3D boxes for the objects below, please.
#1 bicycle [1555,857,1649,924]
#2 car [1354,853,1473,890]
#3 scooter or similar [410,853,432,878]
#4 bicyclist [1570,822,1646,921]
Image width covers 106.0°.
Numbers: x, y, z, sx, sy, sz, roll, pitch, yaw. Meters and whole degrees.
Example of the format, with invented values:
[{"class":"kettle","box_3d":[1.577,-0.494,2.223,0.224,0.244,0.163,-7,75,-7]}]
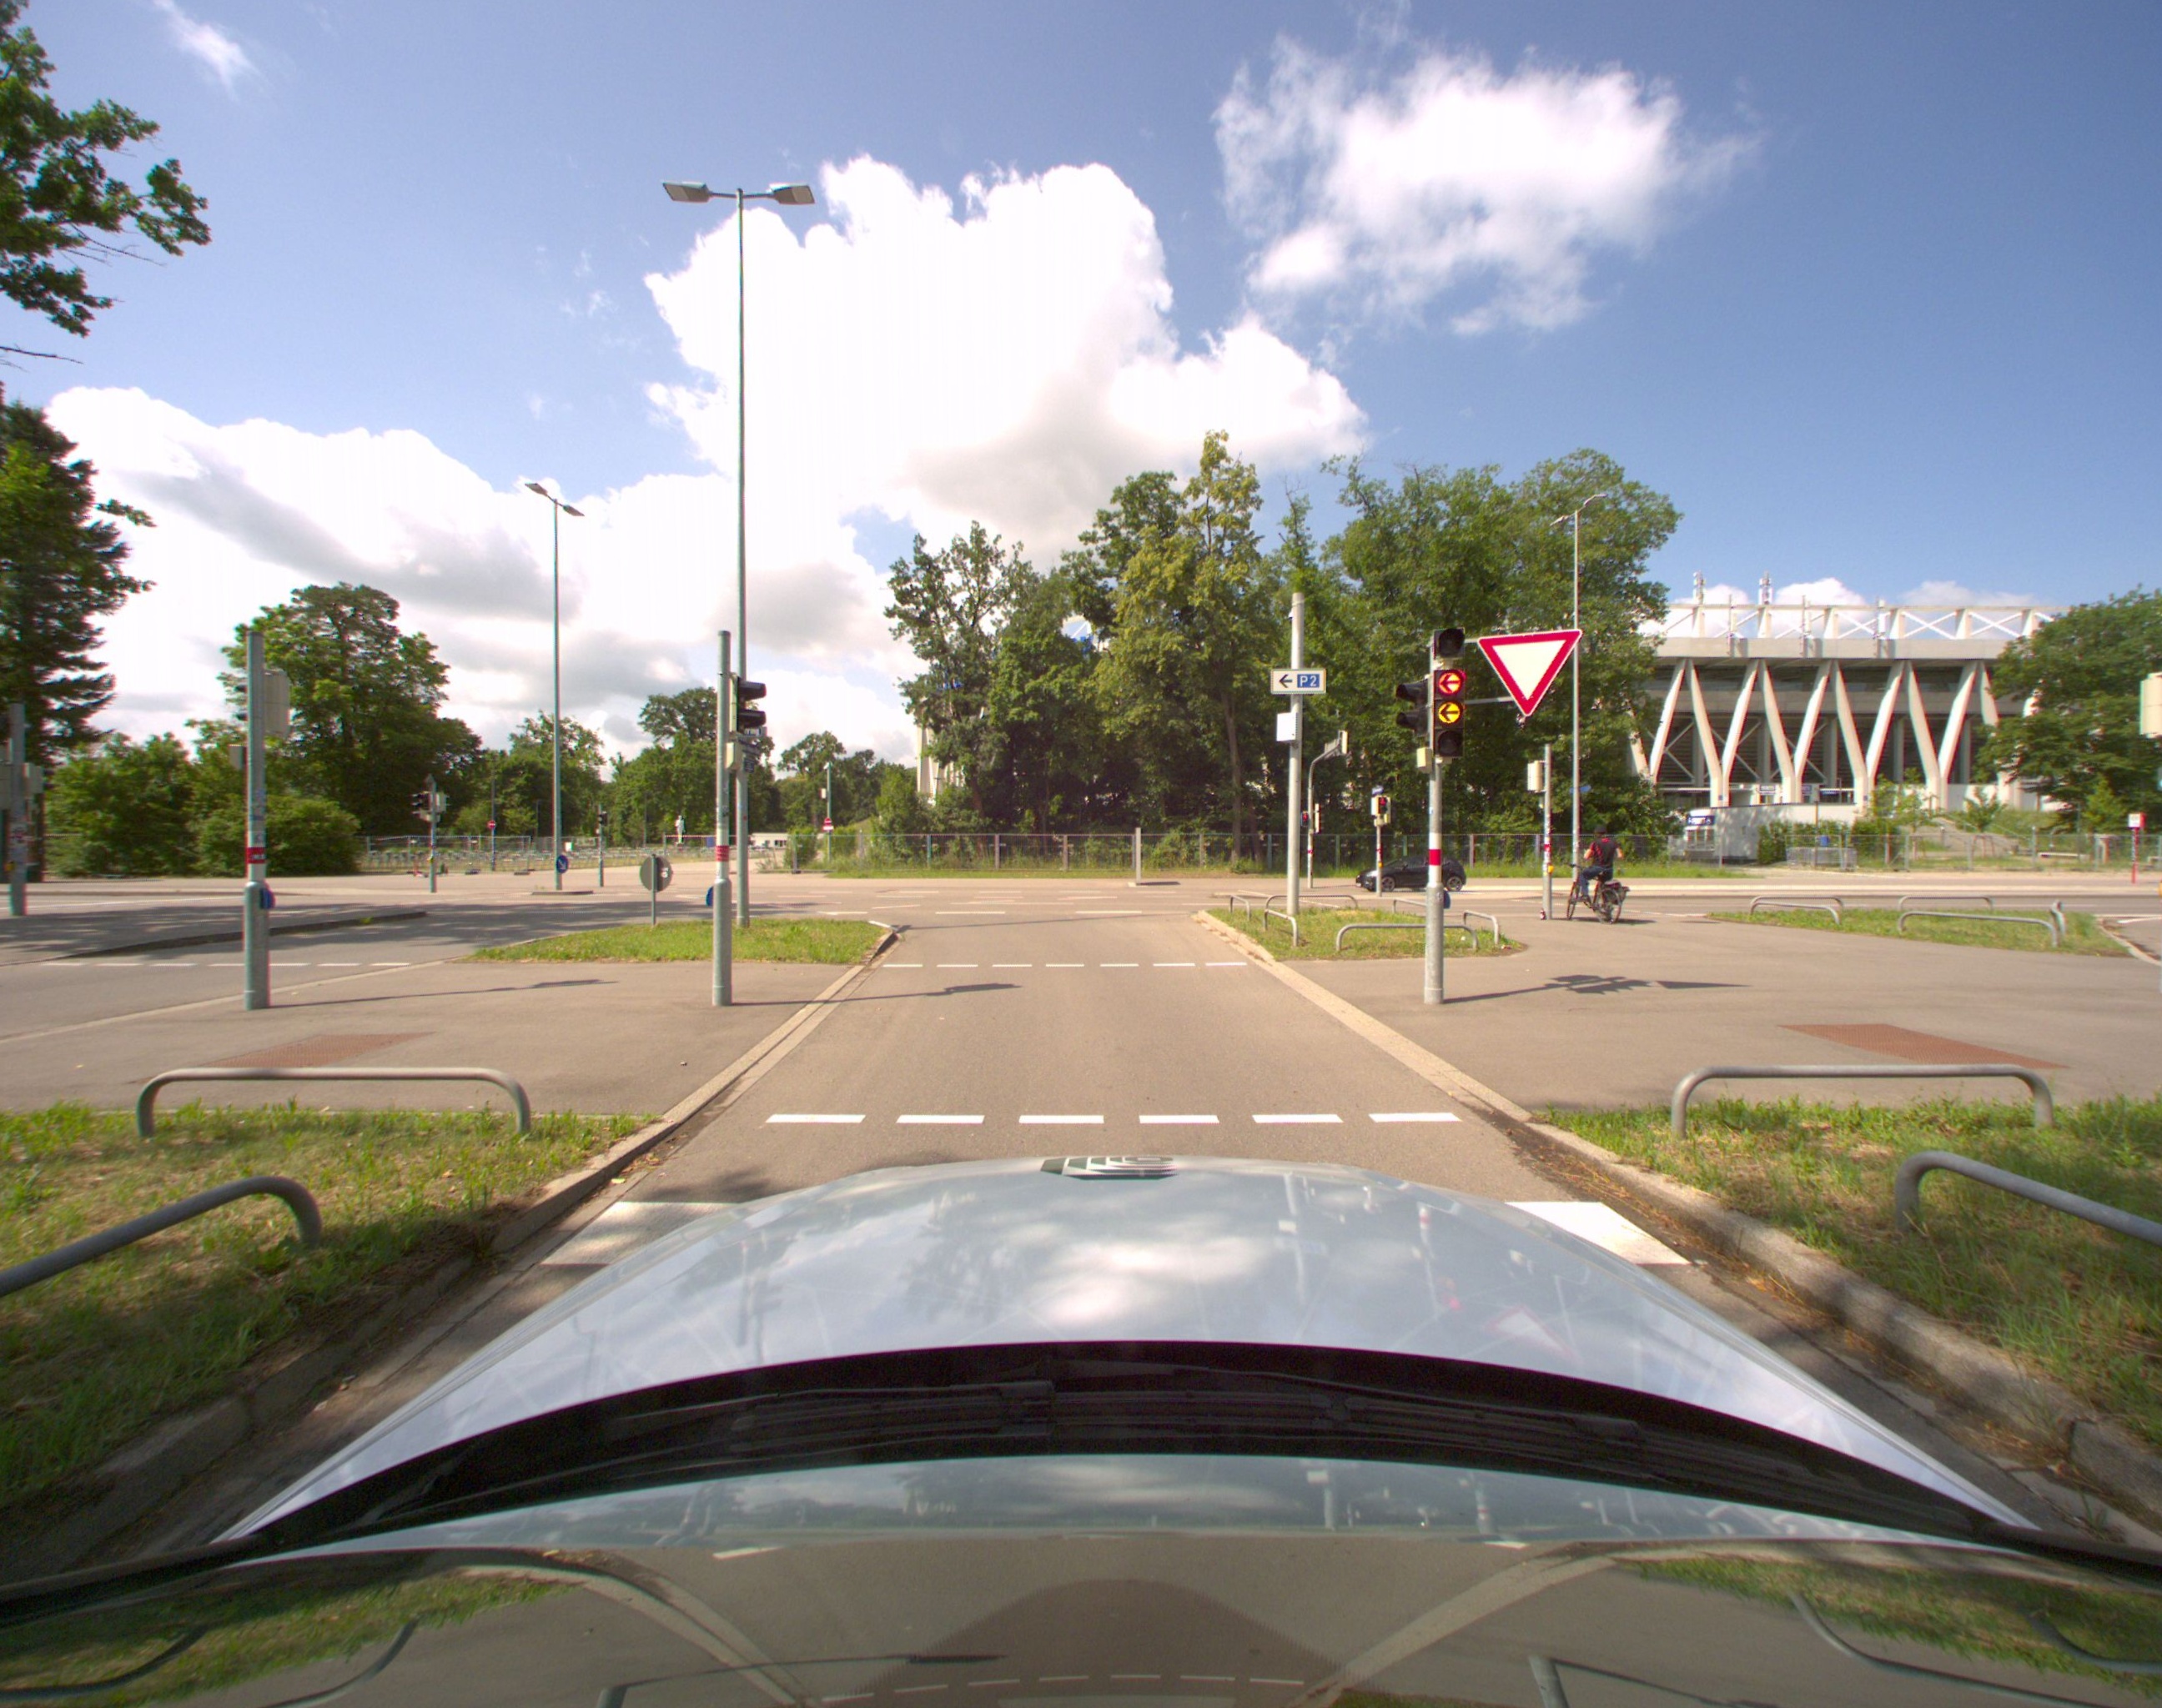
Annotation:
[{"class":"bicycle","box_3d":[9.960,0.659,15.669,0.875,1.206,1.903,-1,-1,11]},{"class":"car","box_3d":[12.735,0.671,31.324,3.948,1.378,1.603,0,-1,1]},{"class":"scooter or similar","box_3d":[-32.211,0.557,39.720,1.295,1.200,0.410,0,1,31]},{"class":"bicyclist","box_3d":[9.923,0.321,15.377,0.879,1.798,0.981,-1,-1,10]}]
